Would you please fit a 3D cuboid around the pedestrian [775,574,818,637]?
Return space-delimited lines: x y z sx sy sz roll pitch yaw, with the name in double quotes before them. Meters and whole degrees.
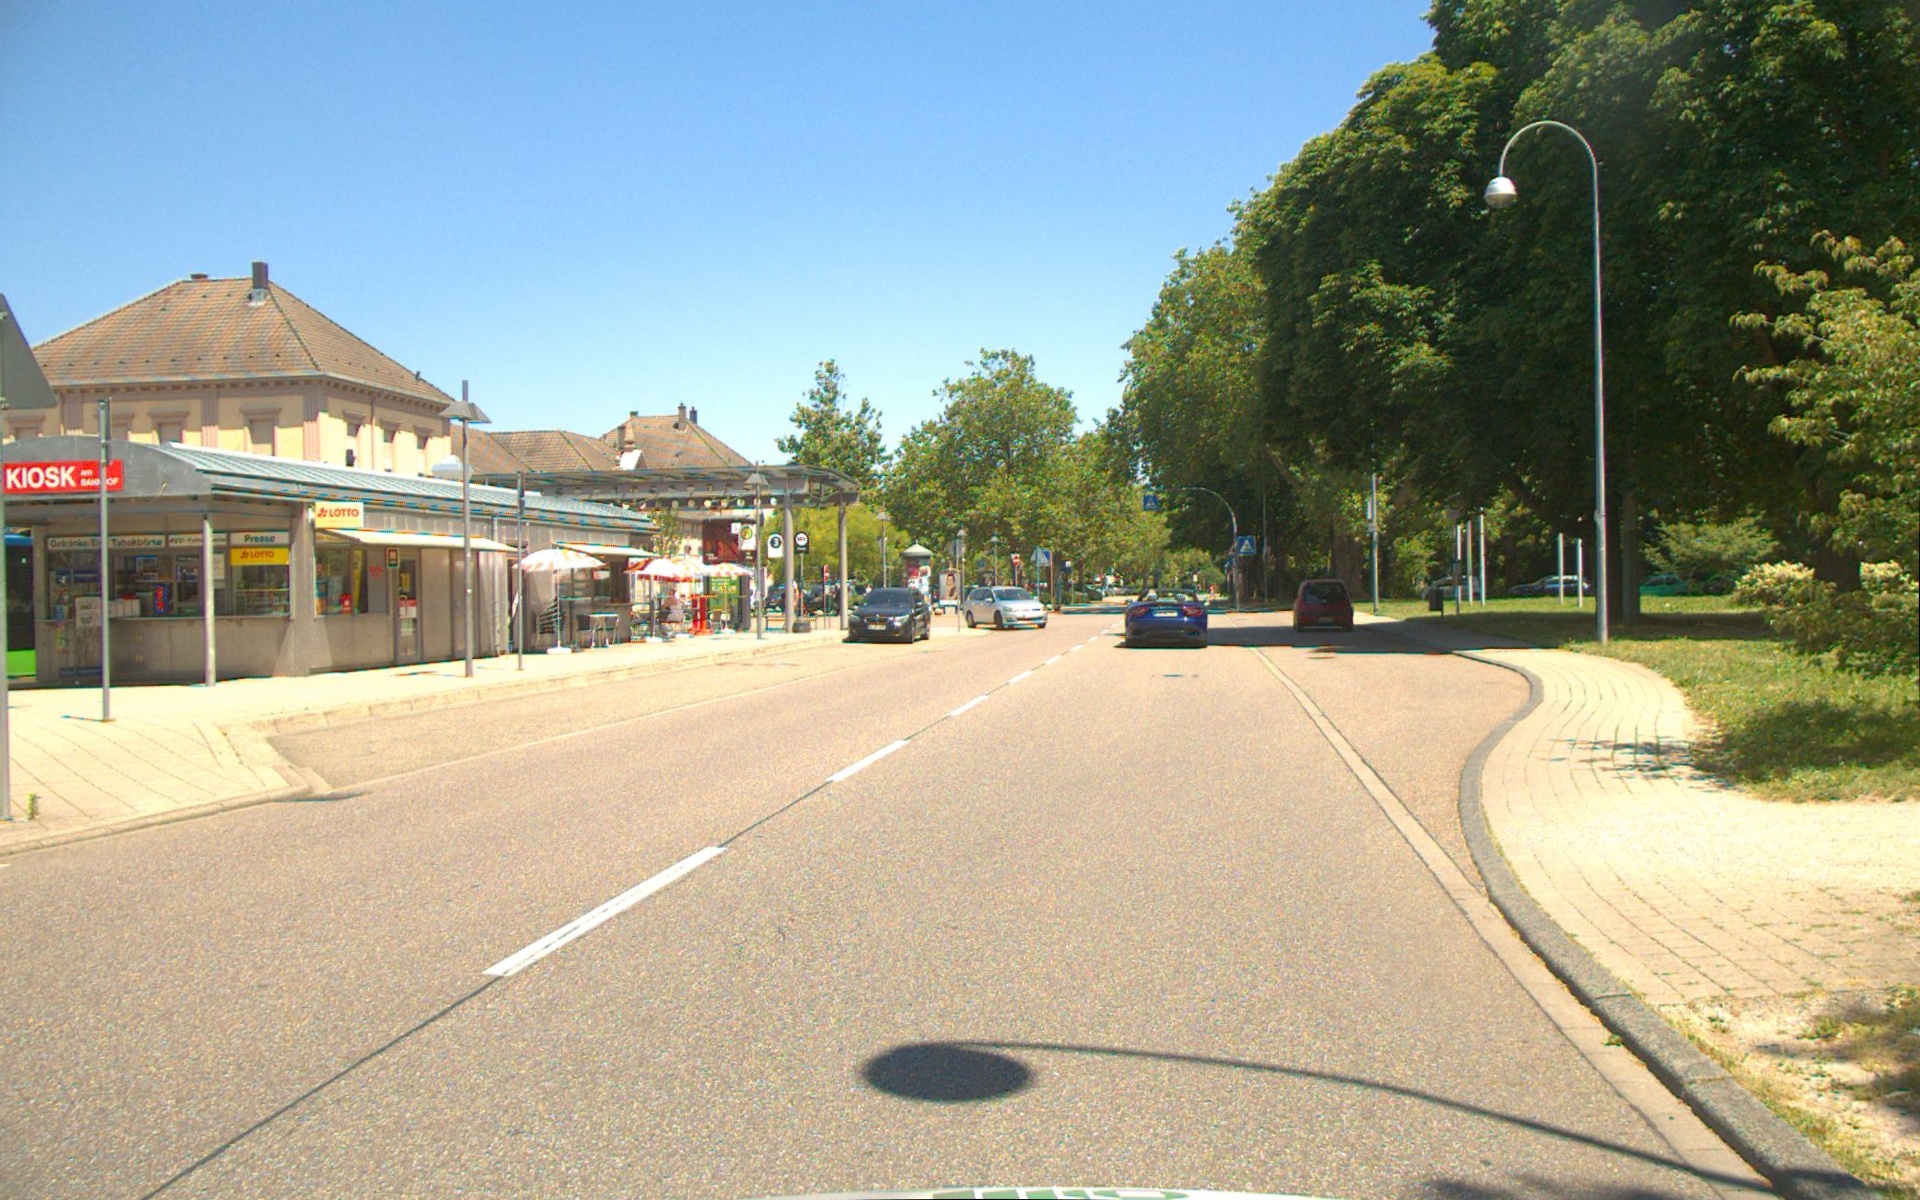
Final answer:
"pedestrian" -4.945 0.162 50.048 0.783 1.860 1.141 -2 -2 24

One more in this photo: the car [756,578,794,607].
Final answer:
"car" -13.711 -0.568 123.030 1.951 2.048 4.004 -1 2 6

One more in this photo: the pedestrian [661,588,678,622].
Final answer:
"pedestrian" -14.939 0.270 84.993 0.650 1.702 0.623 0 -2 -38

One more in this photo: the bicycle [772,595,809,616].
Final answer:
"bicycle" -8.599 0.288 83.859 1.763 1.048 0.487 -1 0 -16

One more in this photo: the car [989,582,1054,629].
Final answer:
"car" 2.172 0.160 57.257 1.776 1.469 4.162 -2 1 8

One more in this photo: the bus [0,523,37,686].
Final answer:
"bus" -22.974 0.179 31.580 2.116 3.587 12.234 -1 1 10

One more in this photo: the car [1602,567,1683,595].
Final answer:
"car" 37.882 -1.038 91.933 3.798 1.479 2.002 -1 -1 9

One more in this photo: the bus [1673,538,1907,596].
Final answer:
"bus" 48.302 -1.875 96.521 12.116 3.030 2.270 -1 -1 6

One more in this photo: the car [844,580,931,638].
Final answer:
"car" -1.979 0.215 46.491 1.682 1.504 4.789 -2 0 7

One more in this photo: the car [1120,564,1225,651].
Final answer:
"car" 4.973 0.158 38.275 2.079 1.881 4.052 -1 0 12

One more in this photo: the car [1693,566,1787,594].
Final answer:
"car" 42.975 -1.102 91.215 4.244 1.441 2.002 -1 -1 9

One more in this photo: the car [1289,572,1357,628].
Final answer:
"car" 10.363 -0.018 47.411 1.682 1.504 3.709 -2 0 9

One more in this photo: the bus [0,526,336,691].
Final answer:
"bus" -18.645 0.167 37.116 2.618 3.094 13.902 -1 0 6

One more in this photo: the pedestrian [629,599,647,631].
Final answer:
"pedestrian" -9.875 0.463 50.724 0.416 0.989 0.372 -2 -2 21

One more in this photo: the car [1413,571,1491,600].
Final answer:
"car" 27.855 -0.828 93.750 4.017 1.491 2.002 -1 0 11

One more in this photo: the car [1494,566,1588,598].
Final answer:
"car" 32.386 -1.026 92.347 4.720 1.635 2.002 -1 0 12
